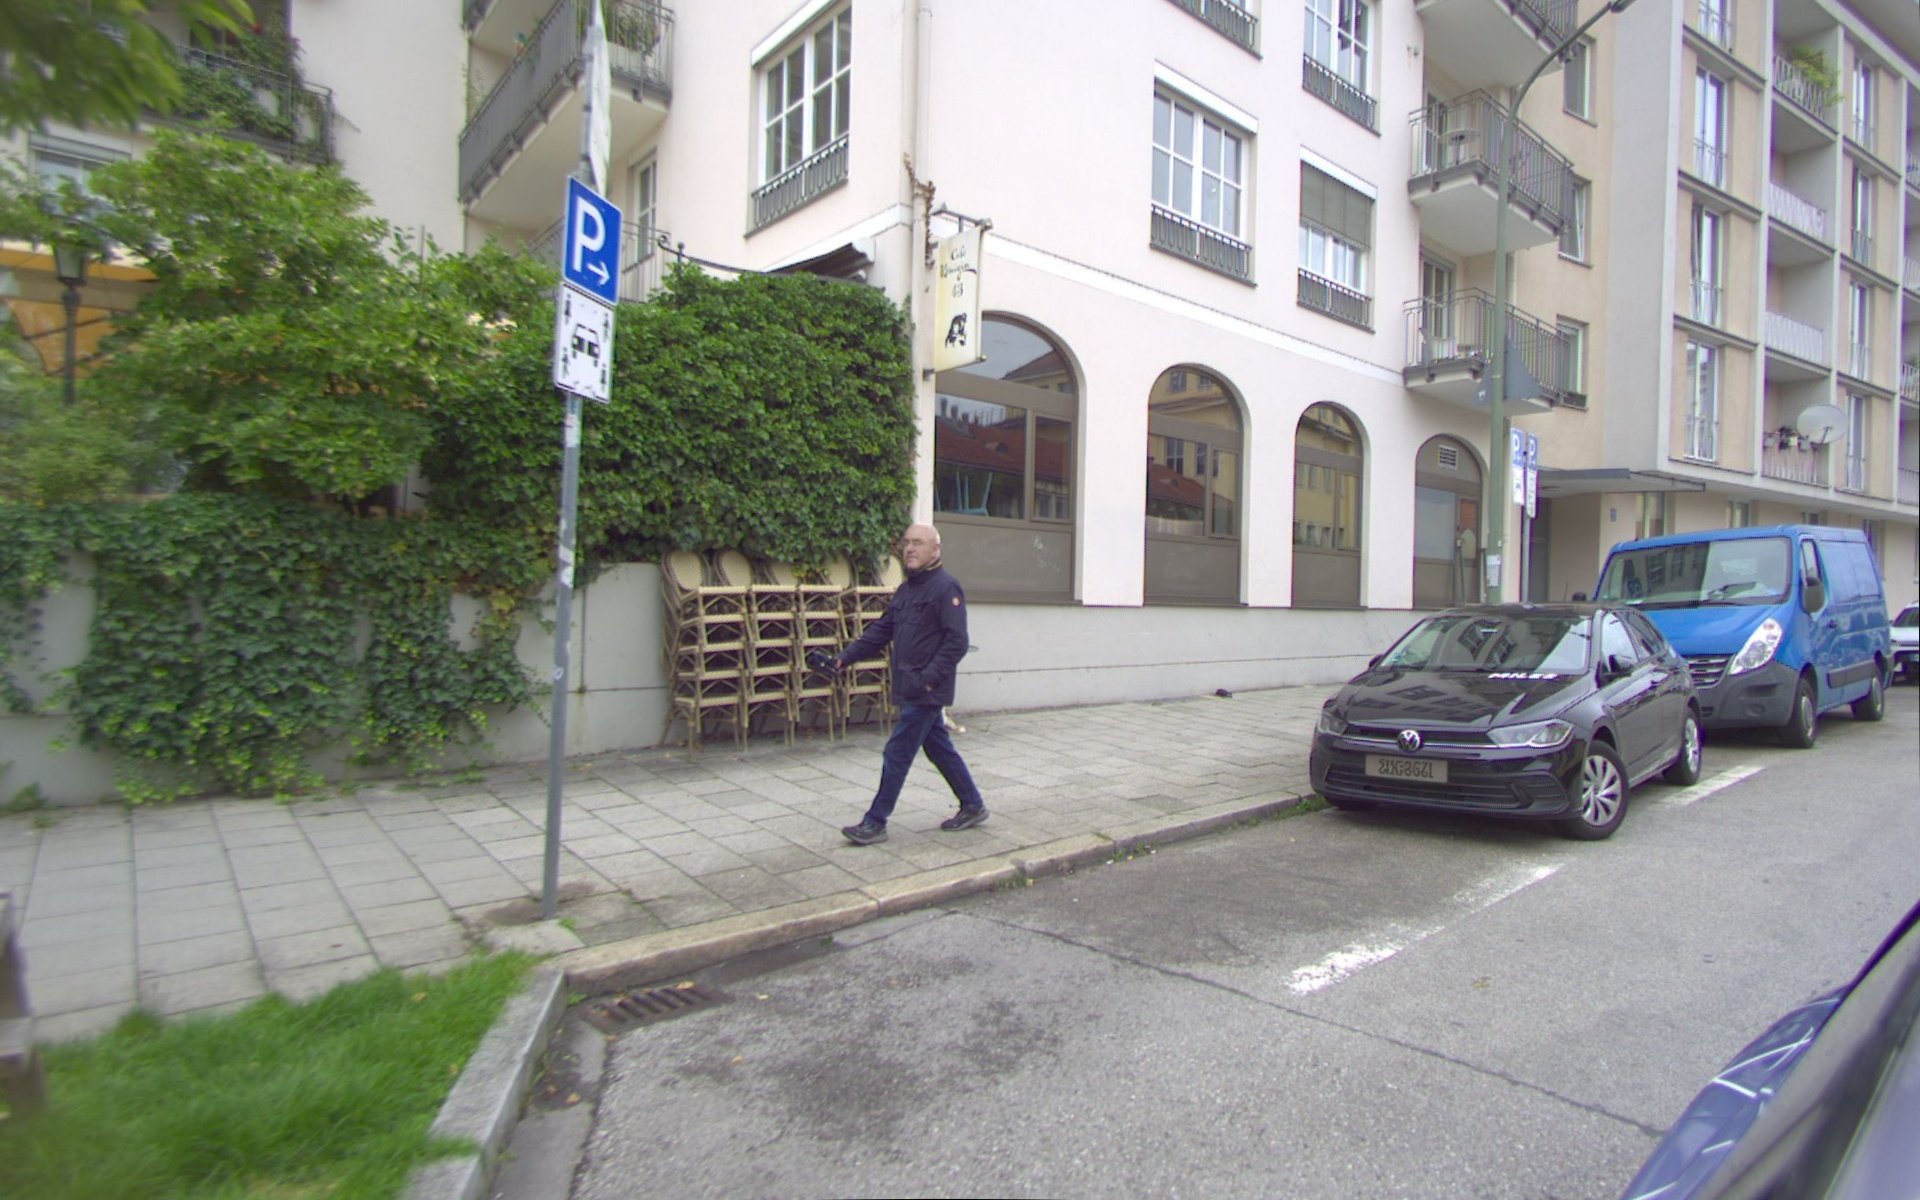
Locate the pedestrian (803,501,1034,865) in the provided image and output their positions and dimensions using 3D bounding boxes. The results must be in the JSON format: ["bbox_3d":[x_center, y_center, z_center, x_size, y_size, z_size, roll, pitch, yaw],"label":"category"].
[{"bbox_3d":[-0.260,0.382,5.670,0.937,1.822,0.937,-1,4,-29],"label":"pedestrian"}]

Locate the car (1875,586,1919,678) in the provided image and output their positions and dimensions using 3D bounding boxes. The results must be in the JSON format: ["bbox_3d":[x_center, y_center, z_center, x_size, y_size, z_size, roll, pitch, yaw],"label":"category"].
[{"bbox_3d":[18.203,0.555,18.159,4.562,1.553,1.789,1,-2,-37],"label":"car"}]

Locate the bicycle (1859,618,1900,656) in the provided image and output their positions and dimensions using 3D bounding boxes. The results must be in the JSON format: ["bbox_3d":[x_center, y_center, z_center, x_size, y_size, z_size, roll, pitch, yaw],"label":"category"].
[{"bbox_3d":[23.148,0.927,25.466,1.364,0.916,0.379,1,0,-31],"label":"bicycle"}]

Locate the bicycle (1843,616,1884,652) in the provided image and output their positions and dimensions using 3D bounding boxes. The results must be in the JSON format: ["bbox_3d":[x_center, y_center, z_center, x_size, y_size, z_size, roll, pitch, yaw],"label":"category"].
[{"bbox_3d":[23.238,0.870,26.028,1.364,0.916,0.379,1,0,-31],"label":"bicycle"}]

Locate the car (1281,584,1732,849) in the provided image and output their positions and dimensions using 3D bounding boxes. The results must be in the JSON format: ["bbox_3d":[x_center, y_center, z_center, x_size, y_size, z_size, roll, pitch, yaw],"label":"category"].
[{"bbox_3d":[4.219,0.658,7.476,4.234,1.407,1.678,0,-3,-44],"label":"car"}]

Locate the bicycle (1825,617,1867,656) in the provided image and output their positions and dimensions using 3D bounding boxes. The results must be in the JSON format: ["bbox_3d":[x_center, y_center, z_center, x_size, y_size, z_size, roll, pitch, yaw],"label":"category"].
[{"bbox_3d":[21.854,0.894,24.955,1.364,0.916,0.379,1,0,-31],"label":"bicycle"}]

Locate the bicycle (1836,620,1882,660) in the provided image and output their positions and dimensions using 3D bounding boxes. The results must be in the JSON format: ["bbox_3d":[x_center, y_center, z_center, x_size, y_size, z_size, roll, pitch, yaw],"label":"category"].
[{"bbox_3d":[21.234,0.938,23.896,1.364,0.916,0.379,1,1,-31],"label":"bicycle"}]

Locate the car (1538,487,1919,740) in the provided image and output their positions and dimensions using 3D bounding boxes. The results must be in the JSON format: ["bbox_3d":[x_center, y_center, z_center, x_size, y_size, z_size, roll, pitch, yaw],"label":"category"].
[{"bbox_3d":[8.854,0.142,11.482,5.148,2.262,2.083,-1,-3,-38],"label":"car"}]
